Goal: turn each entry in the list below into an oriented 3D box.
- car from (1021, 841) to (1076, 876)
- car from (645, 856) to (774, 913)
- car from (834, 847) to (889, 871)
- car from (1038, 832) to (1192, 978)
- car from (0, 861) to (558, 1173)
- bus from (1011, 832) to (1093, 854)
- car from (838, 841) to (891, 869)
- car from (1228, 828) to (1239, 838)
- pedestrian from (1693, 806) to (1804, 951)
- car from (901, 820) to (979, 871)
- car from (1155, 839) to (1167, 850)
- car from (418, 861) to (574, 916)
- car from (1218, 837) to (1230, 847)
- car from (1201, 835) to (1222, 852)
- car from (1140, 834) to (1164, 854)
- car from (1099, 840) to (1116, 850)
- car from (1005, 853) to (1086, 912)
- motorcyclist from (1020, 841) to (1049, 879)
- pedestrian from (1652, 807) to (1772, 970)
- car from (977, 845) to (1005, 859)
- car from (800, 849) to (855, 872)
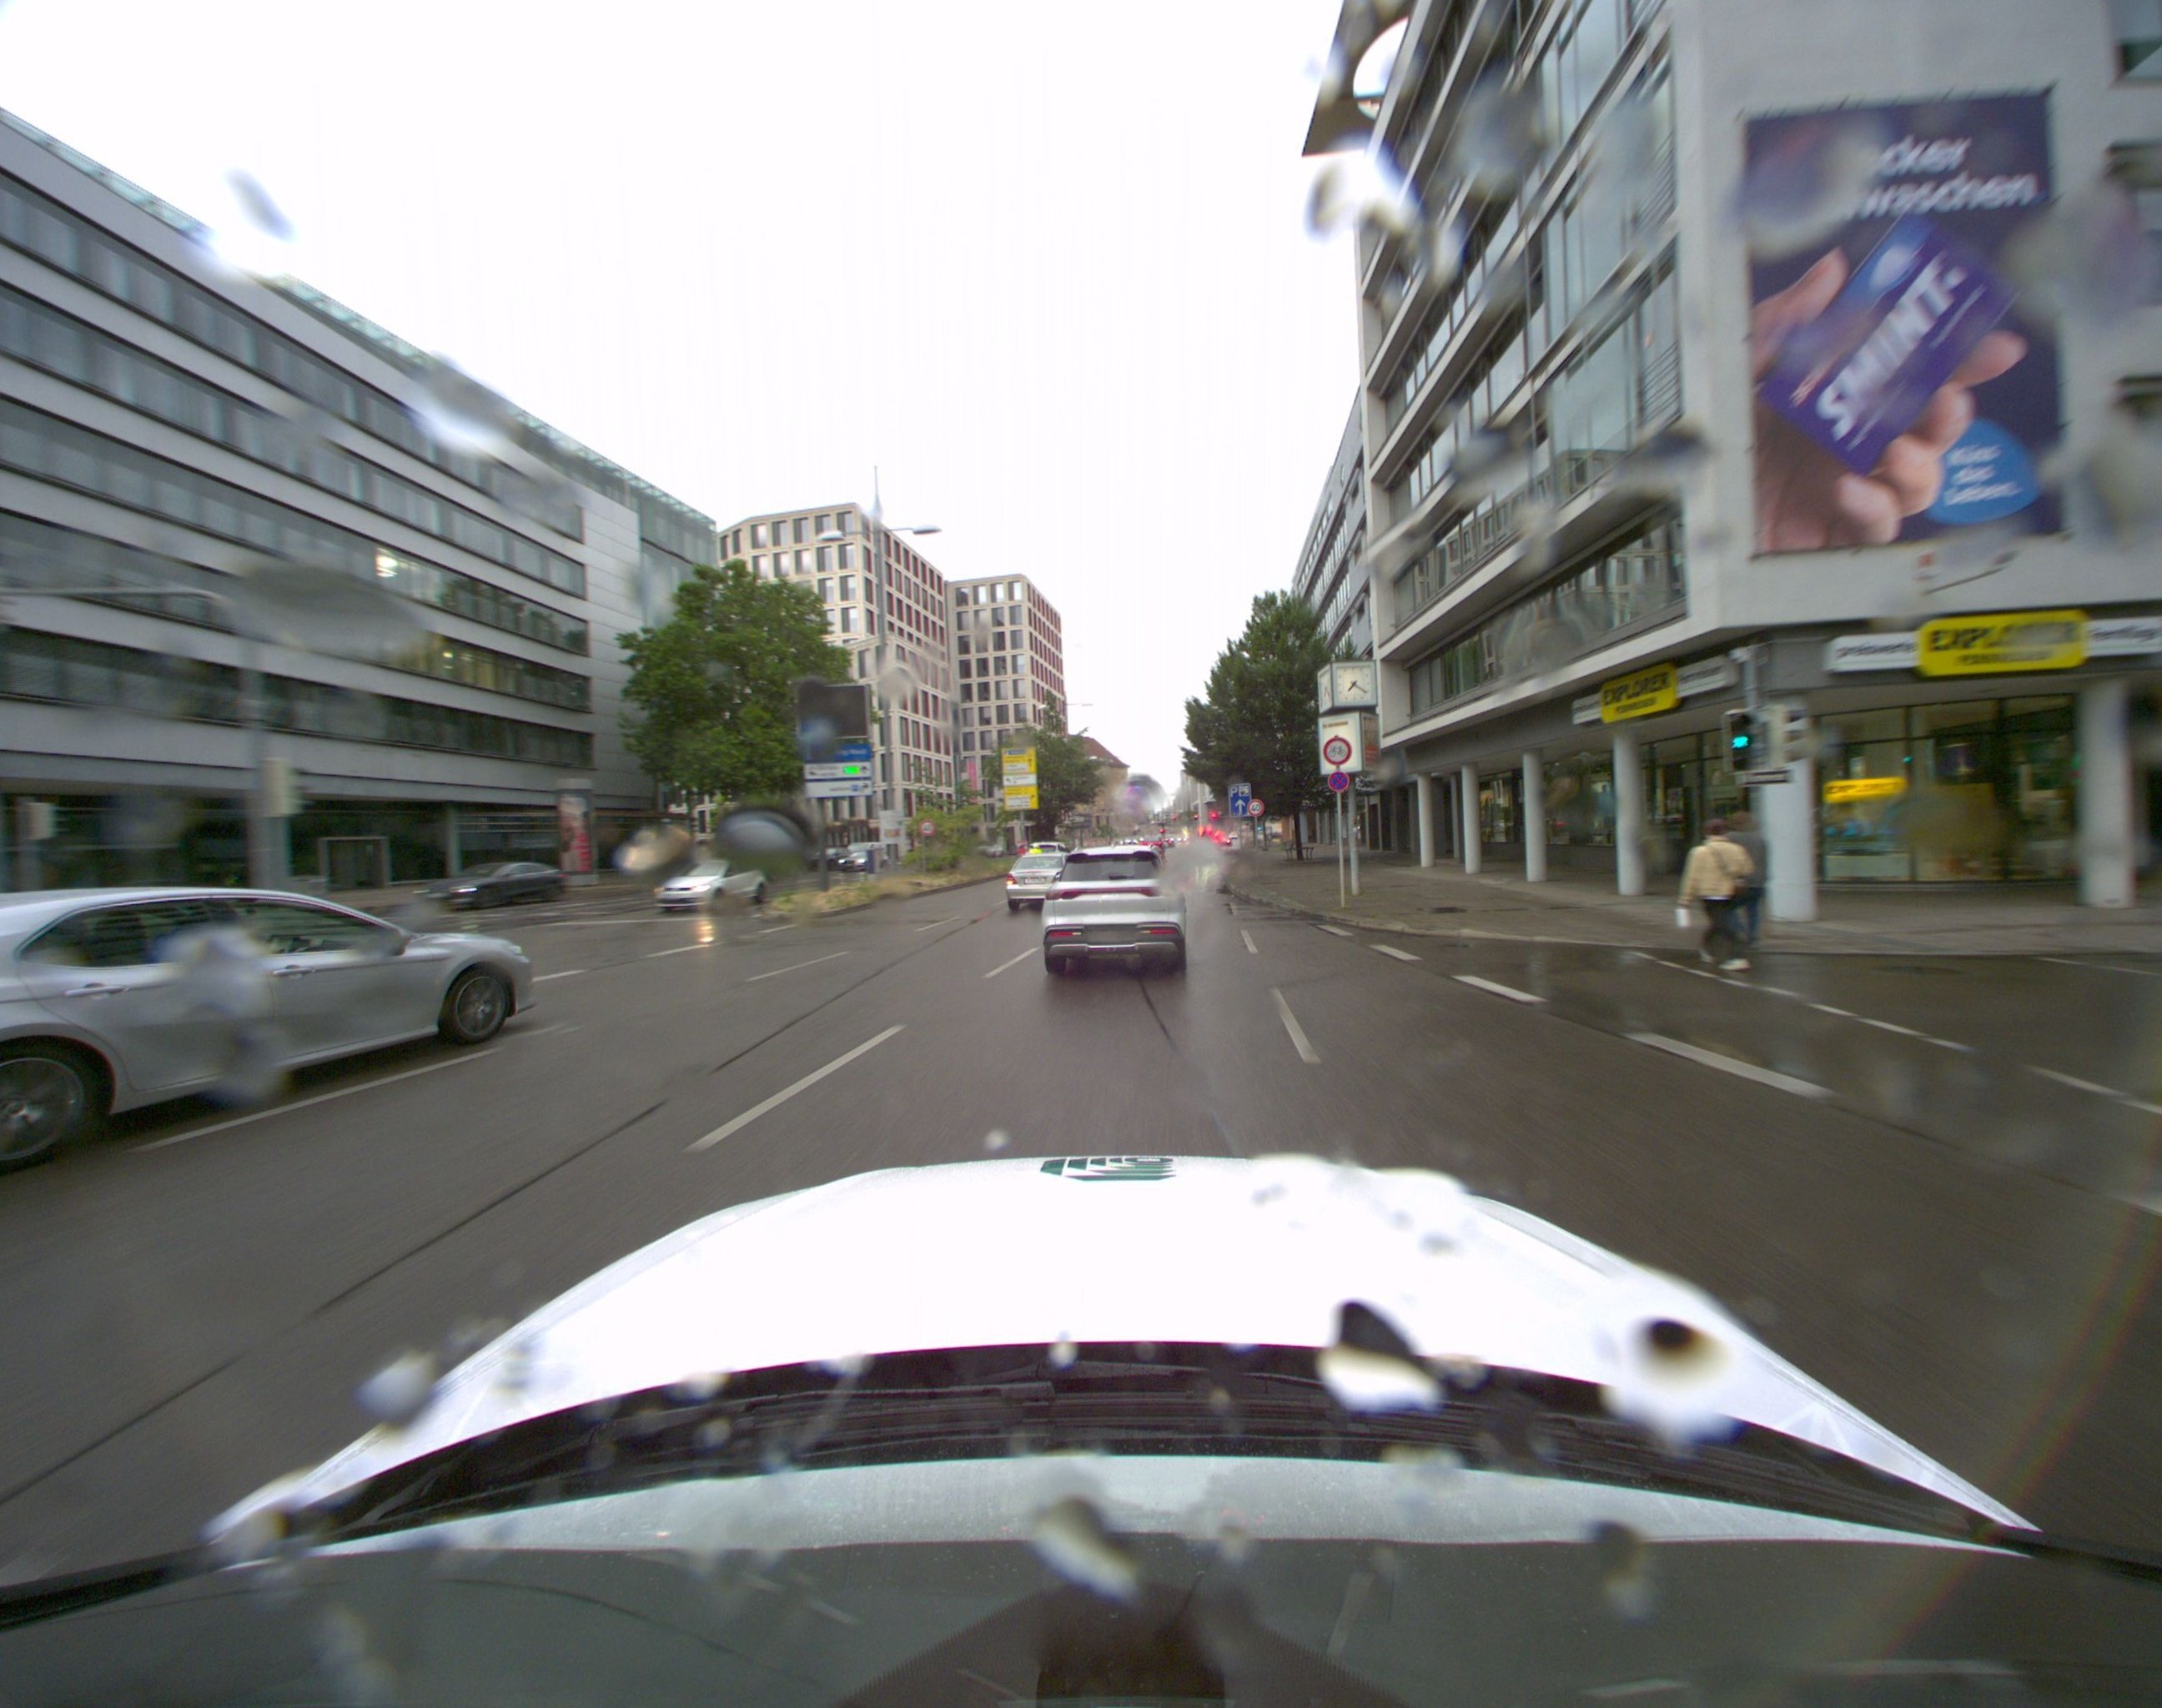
[{"bbox_3d":[-1.429,0.206,37.564,1.697,1.486,4.010,-2,-1,9],"label":"car"},{"bbox_3d":[-10.935,0.836,24.304,1.623,1.437,3.916,-2,1,7],"label":"car"},{"bbox_3d":[-15.074,0.300,56.106,1.981,1.488,4.013,-2,1,11],"label":"car"},{"bbox_3d":[0.609,0.623,11.627,1.767,1.679,4.007,-2,-1,6],"label":"car"},{"bbox_3d":[-6.226,0.861,5.542,1.856,1.533,4.785,-1,0,6],"label":"car"},{"bbox_3d":[-6.120,-2.366,173.954,16.862,4.063,4.449,-2,-1,9],"label":"bus"},{"bbox_3d":[-16.858,0.038,63.686,1.981,2.011,4.943,-2,1,11],"label":"car"},{"bbox_3d":[36.189,-4.953,193.507,1.985,2.014,4.004,-2,-1,4],"label":"car"},{"bbox_3d":[8.714,0.305,10.666,0.745,1.798,0.817,-2,0,4],"label":"pedestrian"},{"bbox_3d":[-6.030,-0.322,35.424,1.983,2.014,4.857,-2,-1,6],"label":"car"},{"bbox_3d":[12.871,-1.506,131.489,1.878,1.643,4.007,-2,0,6],"label":"car"},{"bbox_3d":[-20.006,1.120,28.147,1.623,1.559,4.602,-2,1,7],"label":"car"},{"bbox_3d":[23.492,-1.936,133.422,1.681,1.486,4.014,-2,-1,13],"label":"car"},{"bbox_3d":[12.070,-0.960,75.231,1.682,1.486,4.013,-2,-1,12],"label":"car"},{"bbox_3d":[5.835,-0.812,66.521,1.561,1.486,4.011,-2,-1,10],"label":"car"},{"bbox_3d":[4.112,-1.406,126.282,1.980,1.486,4.013,-2,1,11],"label":"car"},{"bbox_3d":[-0.854,0.719,21.883,1.563,1.407,4.115,-2,-1,5],"label":"car"},{"bbox_3d":[-1.753,0.234,31.088,0.764,1.380,1.122,-2,-1,14],"label":"motorcyclist"},{"bbox_3d":[7.353,0.386,9.531,0.745,1.798,0.817,-2,0,4],"label":"pedestrian"},{"bbox_3d":[-10.327,-0.287,93.973,1.981,1.488,4.013,-2,1,11],"label":"car"},{"bbox_3d":[-17.946,0.435,57.889,1.981,1.488,4.013,-2,1,11],"label":"car"}]
